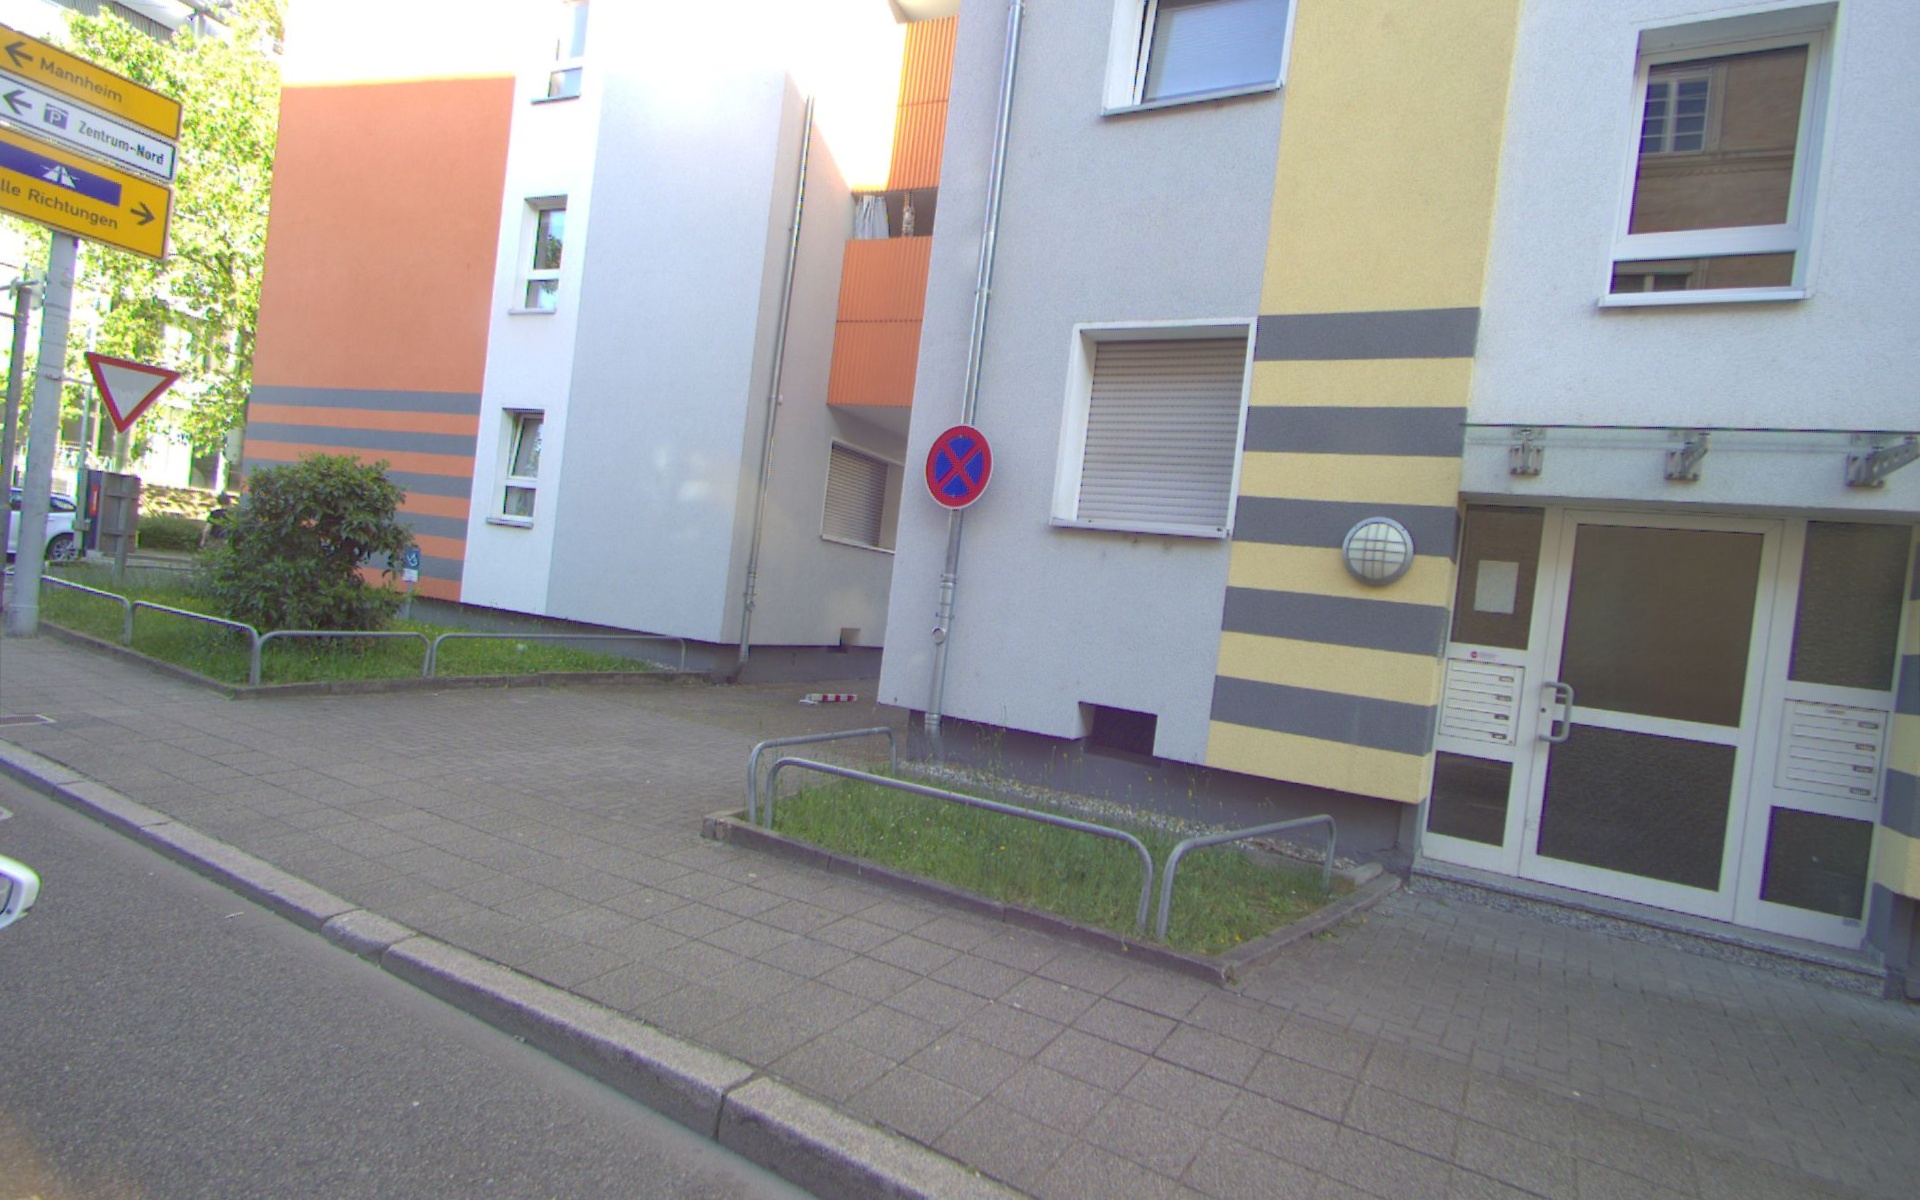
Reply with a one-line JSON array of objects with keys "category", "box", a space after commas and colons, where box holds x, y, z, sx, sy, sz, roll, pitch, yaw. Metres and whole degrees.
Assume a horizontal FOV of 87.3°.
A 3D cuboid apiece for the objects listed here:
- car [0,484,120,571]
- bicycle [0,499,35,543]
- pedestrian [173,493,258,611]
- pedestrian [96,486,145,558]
[{"category": "car", "box": [-18.695, -1.518, 18.595, 1.857, 1.494, 4.546, 7, 0, 14]}, {"category": "bicycle", "box": [-26.296, -2.227, 27.359, 1.658, 1.063, 0.508, 9, 2, -3]}, {"category": "pedestrian", "box": [-12.661, -0.816, 17.115, 0.823, 1.861, 0.708, 8, -1, 32]}, {"category": "pedestrian", "box": [-23.426, -2.180, 28.074, 0.833, 1.861, 0.700, 8, -1, -44]}]
